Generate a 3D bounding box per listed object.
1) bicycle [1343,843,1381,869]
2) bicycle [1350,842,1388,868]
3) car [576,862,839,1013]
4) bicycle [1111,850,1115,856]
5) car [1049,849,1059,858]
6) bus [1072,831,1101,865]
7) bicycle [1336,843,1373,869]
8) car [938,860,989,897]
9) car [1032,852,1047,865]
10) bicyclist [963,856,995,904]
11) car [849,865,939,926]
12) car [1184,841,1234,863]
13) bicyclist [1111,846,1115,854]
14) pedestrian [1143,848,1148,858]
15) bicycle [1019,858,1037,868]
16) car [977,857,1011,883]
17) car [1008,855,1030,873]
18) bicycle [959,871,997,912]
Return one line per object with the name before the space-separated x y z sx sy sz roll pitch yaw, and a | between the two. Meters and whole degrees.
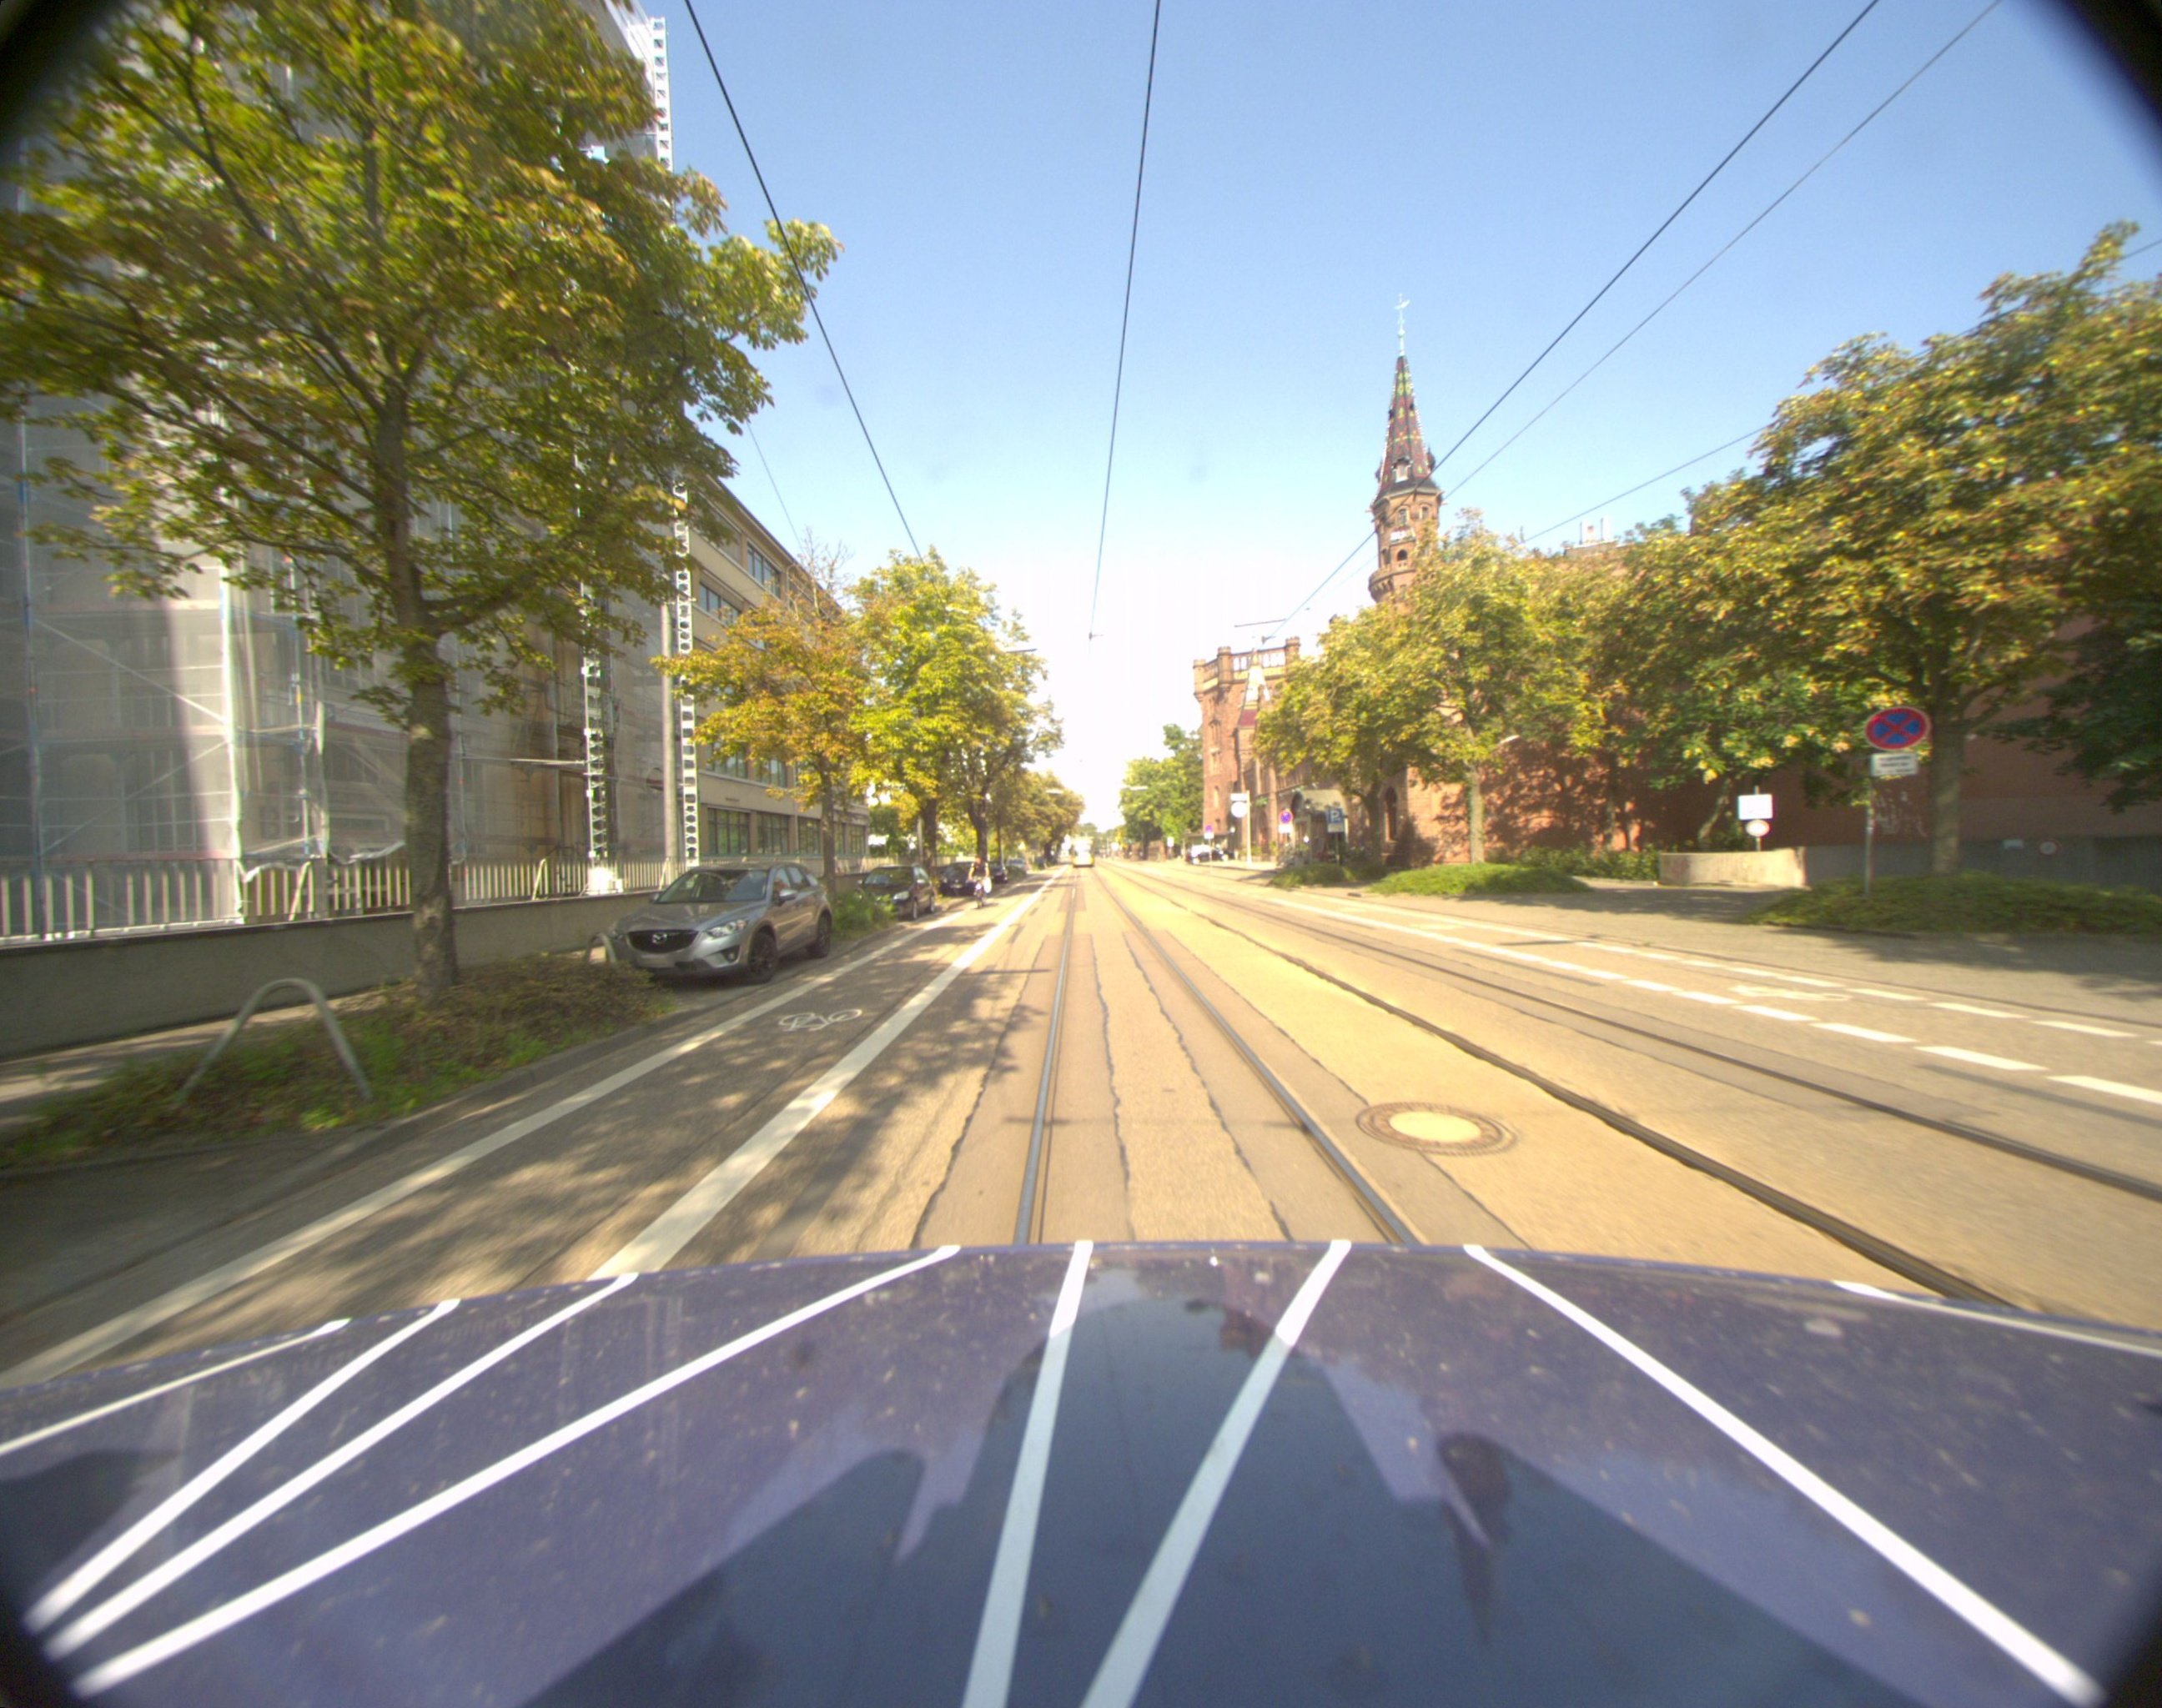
bicycle | 13.656 0.099 36.897 1.809 1.068 0.420 -7 2 -22
bicycle | 13.823 0.054 36.463 1.809 1.068 0.420 -7 2 -22
car | -5.140 1.022 11.253 1.758 1.681 4.395 -3 0 -2
bicycle | 6.462 -0.190 152.457 0.699 1.151 2.037 -2 1 -2
car | -5.187 -0.037 147.356 1.866 1.643 4.183 -3 1 -1
bus | 0.737 -0.696 89.652 2.900 3.771 9.319 -2 1 2
bicycle | 13.461 0.102 37.325 1.809 1.068 0.420 -7 2 -22
car | -5.207 1.040 34.125 1.650 1.502 3.778 0 0 0
car | -5.143 0.555 95.314 1.745 1.477 4.436 0 0 -1
bicyclist | -3.282 0.824 24.423 0.789 1.461 1.116 -2 1 2
car | -5.161 1.100 21.462 1.580 1.476 3.738 0 0 1
car | 12.487 -0.224 74.269 4.407 1.636 1.957 -6 0 1
bicyclist | 6.446 -0.721 152.419 0.699 1.572 1.087 -2 2 -2
pedestrian | 10.383 -0.194 122.720 0.717 1.580 0.775 -2 1 -1
bicycle | -5.416 0.906 77.301 1.773 1.058 0.796 0 1 -2
car | -5.242 0.940 46.348 1.650 1.420 4.084 0 0 -1
car | -5.295 0.830 64.919 1.644 1.421 3.988 -1 1 -2
bicycle | -3.270 1.175 24.261 0.789 1.138 2.305 -2 1 2
